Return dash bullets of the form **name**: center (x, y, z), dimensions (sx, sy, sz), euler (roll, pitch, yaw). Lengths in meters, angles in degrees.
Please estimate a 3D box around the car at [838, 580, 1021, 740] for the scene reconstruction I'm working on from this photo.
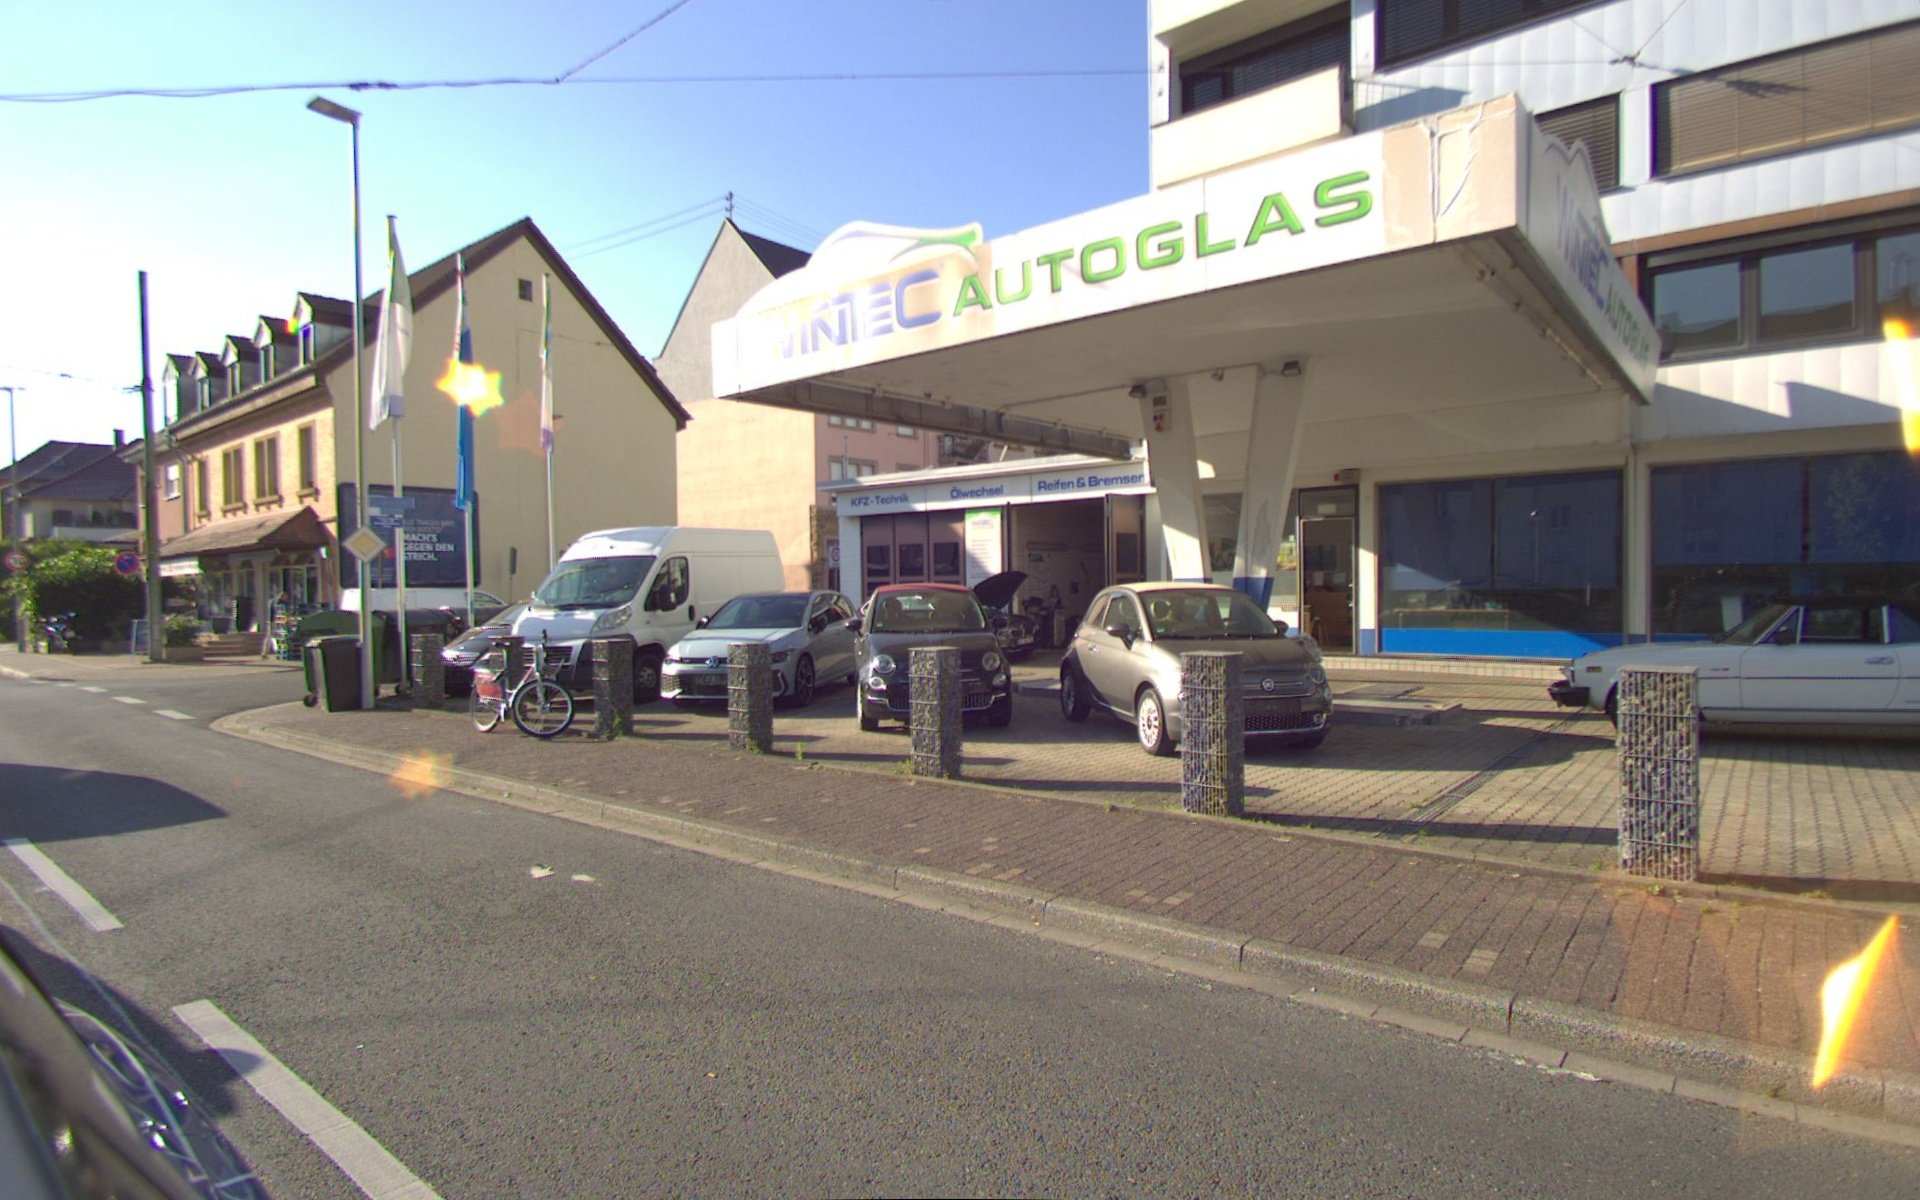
- **car**: center (-0.489, 0.565, 11.512), dimensions (1.569, 1.508, 3.443), euler (-1, 0, -10)

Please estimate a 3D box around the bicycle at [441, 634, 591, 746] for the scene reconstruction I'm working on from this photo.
- **bicycle**: center (-4.902, 0.941, 11.126), dimensions (1.789, 1.094, 0.716), euler (-1, 1, 37)

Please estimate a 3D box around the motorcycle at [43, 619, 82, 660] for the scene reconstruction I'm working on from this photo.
- **motorcycle**: center (-27.973, 1.203, 31.533), dimensions (2.186, 1.226, 0.699), euler (-1, 0, 43)

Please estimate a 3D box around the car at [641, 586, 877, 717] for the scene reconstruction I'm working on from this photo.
- **car**: center (-2.538, 0.588, 13.809), dimensions (1.725, 1.508, 4.016), euler (-1, 0, 12)

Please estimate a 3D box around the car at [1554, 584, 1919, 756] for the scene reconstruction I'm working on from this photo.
- **car**: center (7.379, 0.543, 8.575), dimensions (3.898, 1.308, 1.506), euler (-1, -1, 37)

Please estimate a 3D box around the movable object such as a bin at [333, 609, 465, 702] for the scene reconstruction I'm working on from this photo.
- **movable object such as a bin**: center (-9.583, 0.915, 17.373), dimensions (1.039, 1.475, 1.787), euler (-1, 0, 15)

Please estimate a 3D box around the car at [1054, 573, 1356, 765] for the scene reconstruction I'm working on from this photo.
- **car**: center (2.147, 0.536, 9.798), dimensions (1.517, 1.497, 3.381), euler (-1, 0, -11)

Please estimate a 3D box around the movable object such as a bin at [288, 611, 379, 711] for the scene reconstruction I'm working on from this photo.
- **movable object such as a bin**: center (-9.712, 0.917, 15.718), dimensions (1.030, 1.475, 0.798), euler (-1, 0, -18)

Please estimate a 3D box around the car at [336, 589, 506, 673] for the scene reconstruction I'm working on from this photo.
- **car**: center (-13.899, 0.739, 26.256), dimensions (1.449, 2.029, 3.628), euler (-1, 0, 37)

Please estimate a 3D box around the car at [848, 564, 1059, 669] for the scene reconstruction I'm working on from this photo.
- **car**: center (-0.212, 0.321, 20.924), dimensions (4.255, 1.958, 1.720), euler (-1, 0, 40)

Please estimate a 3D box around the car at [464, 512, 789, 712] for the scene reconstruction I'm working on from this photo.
- **car**: center (-4.694, 0.132, 15.227), dimensions (2.098, 2.472, 4.963), euler (-1, 0, 18)

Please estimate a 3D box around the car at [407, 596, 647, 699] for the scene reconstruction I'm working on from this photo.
- **car**: center (-7.068, 0.704, 17.013), dimensions (1.725, 1.488, 4.016), euler (-1, 0, 12)

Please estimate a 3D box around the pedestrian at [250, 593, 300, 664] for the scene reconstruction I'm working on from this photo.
- **pedestrian**: center (-18.372, 0.763, 27.137), dimensions (0.816, 1.866, 0.762), euler (-1, 0, 19)
